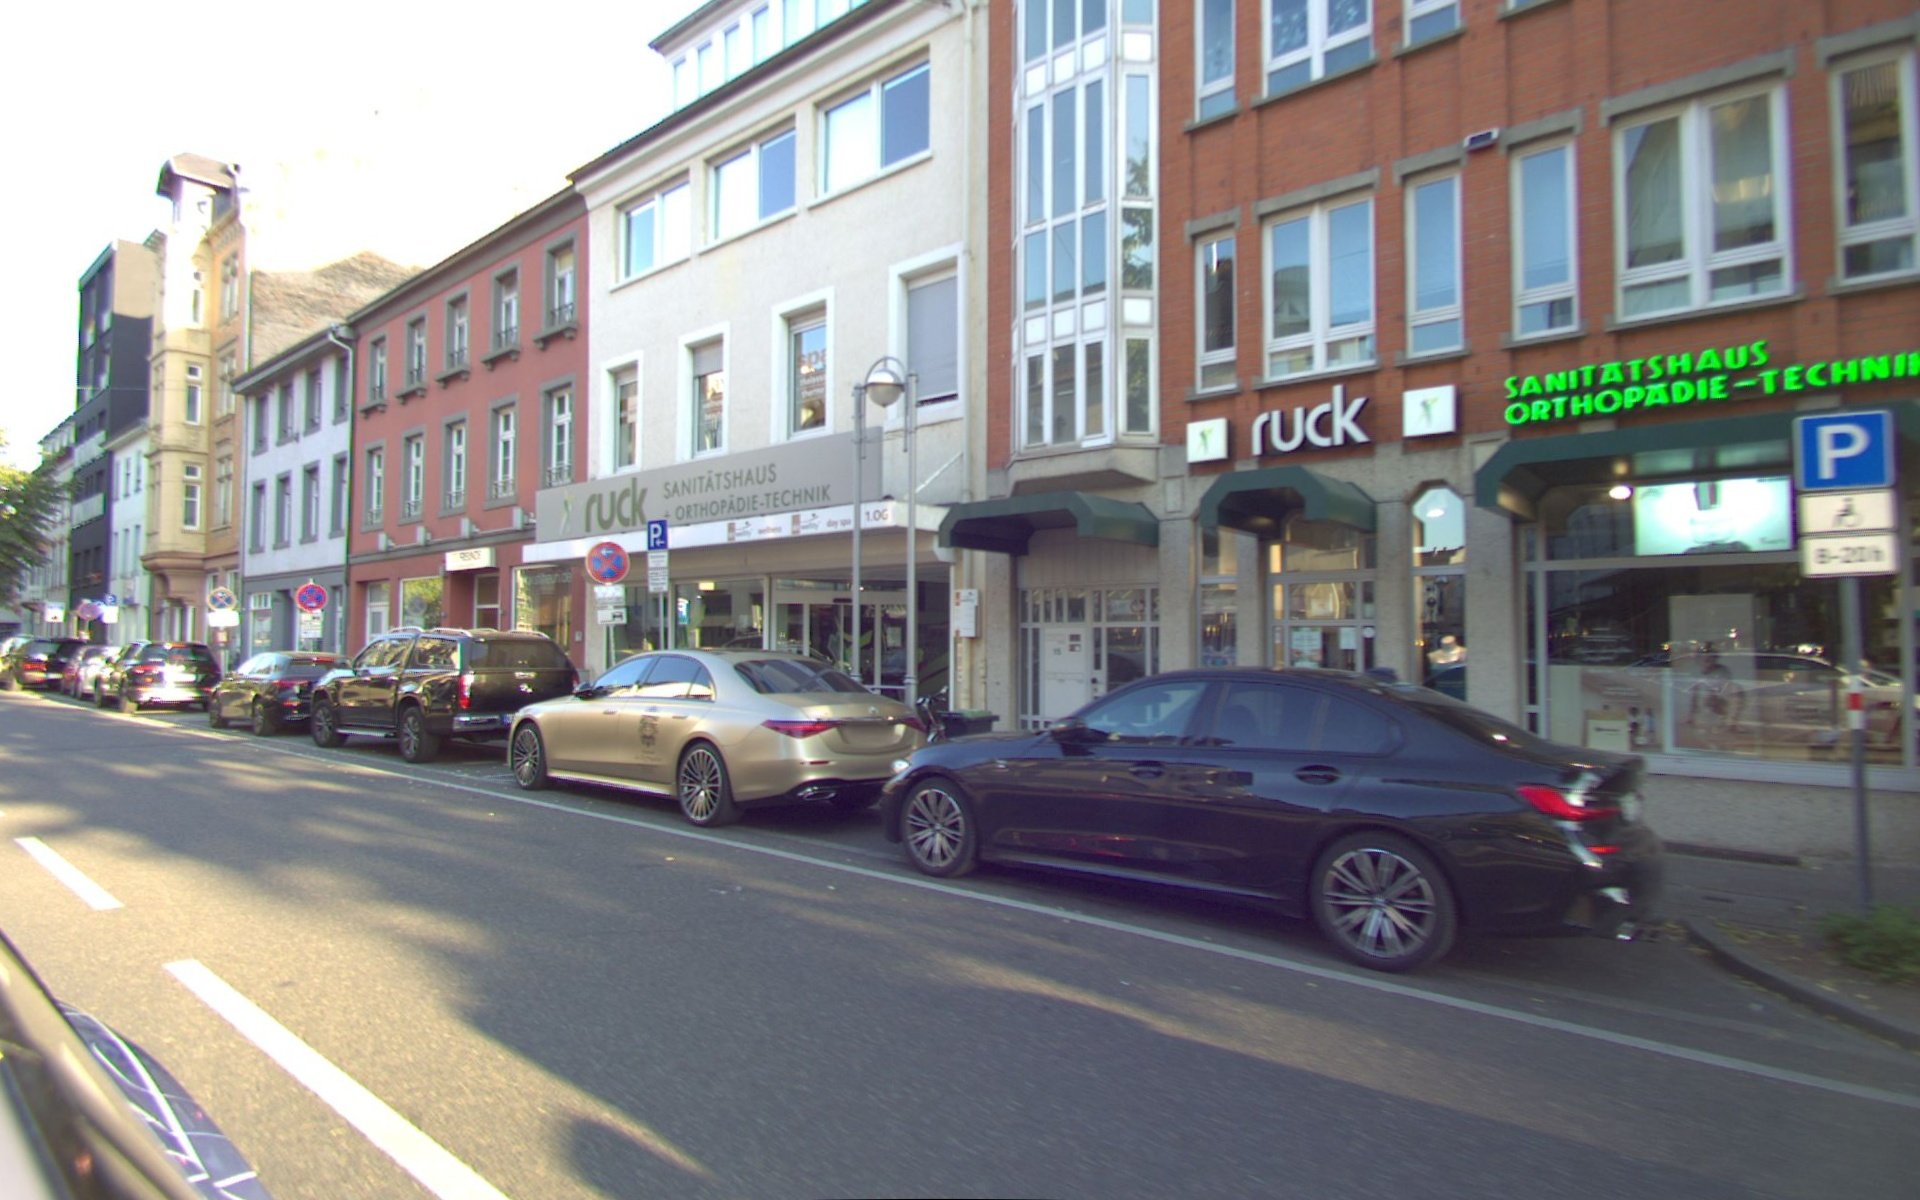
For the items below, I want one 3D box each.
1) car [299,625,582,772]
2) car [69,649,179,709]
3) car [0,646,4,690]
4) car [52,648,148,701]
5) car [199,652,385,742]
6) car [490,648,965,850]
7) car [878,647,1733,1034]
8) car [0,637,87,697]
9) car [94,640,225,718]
[{"bbox_3d":[-7.593,1.322,14.567,4.933,1.793,1.703,-2,-5,39],"label":"car"},{"bbox_3d":[-22.419,2.095,27.101,3.689,1.481,1.667,-2,-6,42],"label":"car"},{"bbox_3d":[-35.412,2.394,35.934,3.561,1.532,1.652,-2,-5,39],"label":"car"},{"bbox_3d":[-25.733,2.212,30.249,3.564,1.468,1.651,-2,-6,42],"label":"car"},{"bbox_3d":[-12.284,1.727,18.538,4.011,1.448,1.684,-2,-6,40],"label":"car"},{"bbox_3d":[-2.500,1.233,9.940,5.105,1.484,1.972,-3,-5,42],"label":"car"},{"bbox_3d":[1.724,1.060,6.086,4.538,1.484,1.703,-2,-6,41],"label":"car"},{"bbox_3d":[-29.226,2.119,32.180,3.564,1.788,1.651,-2,-6,42],"label":"car"},{"bbox_3d":[-19.064,1.841,24.047,4.048,1.696,1.702,-2,-6,42],"label":"car"}]
